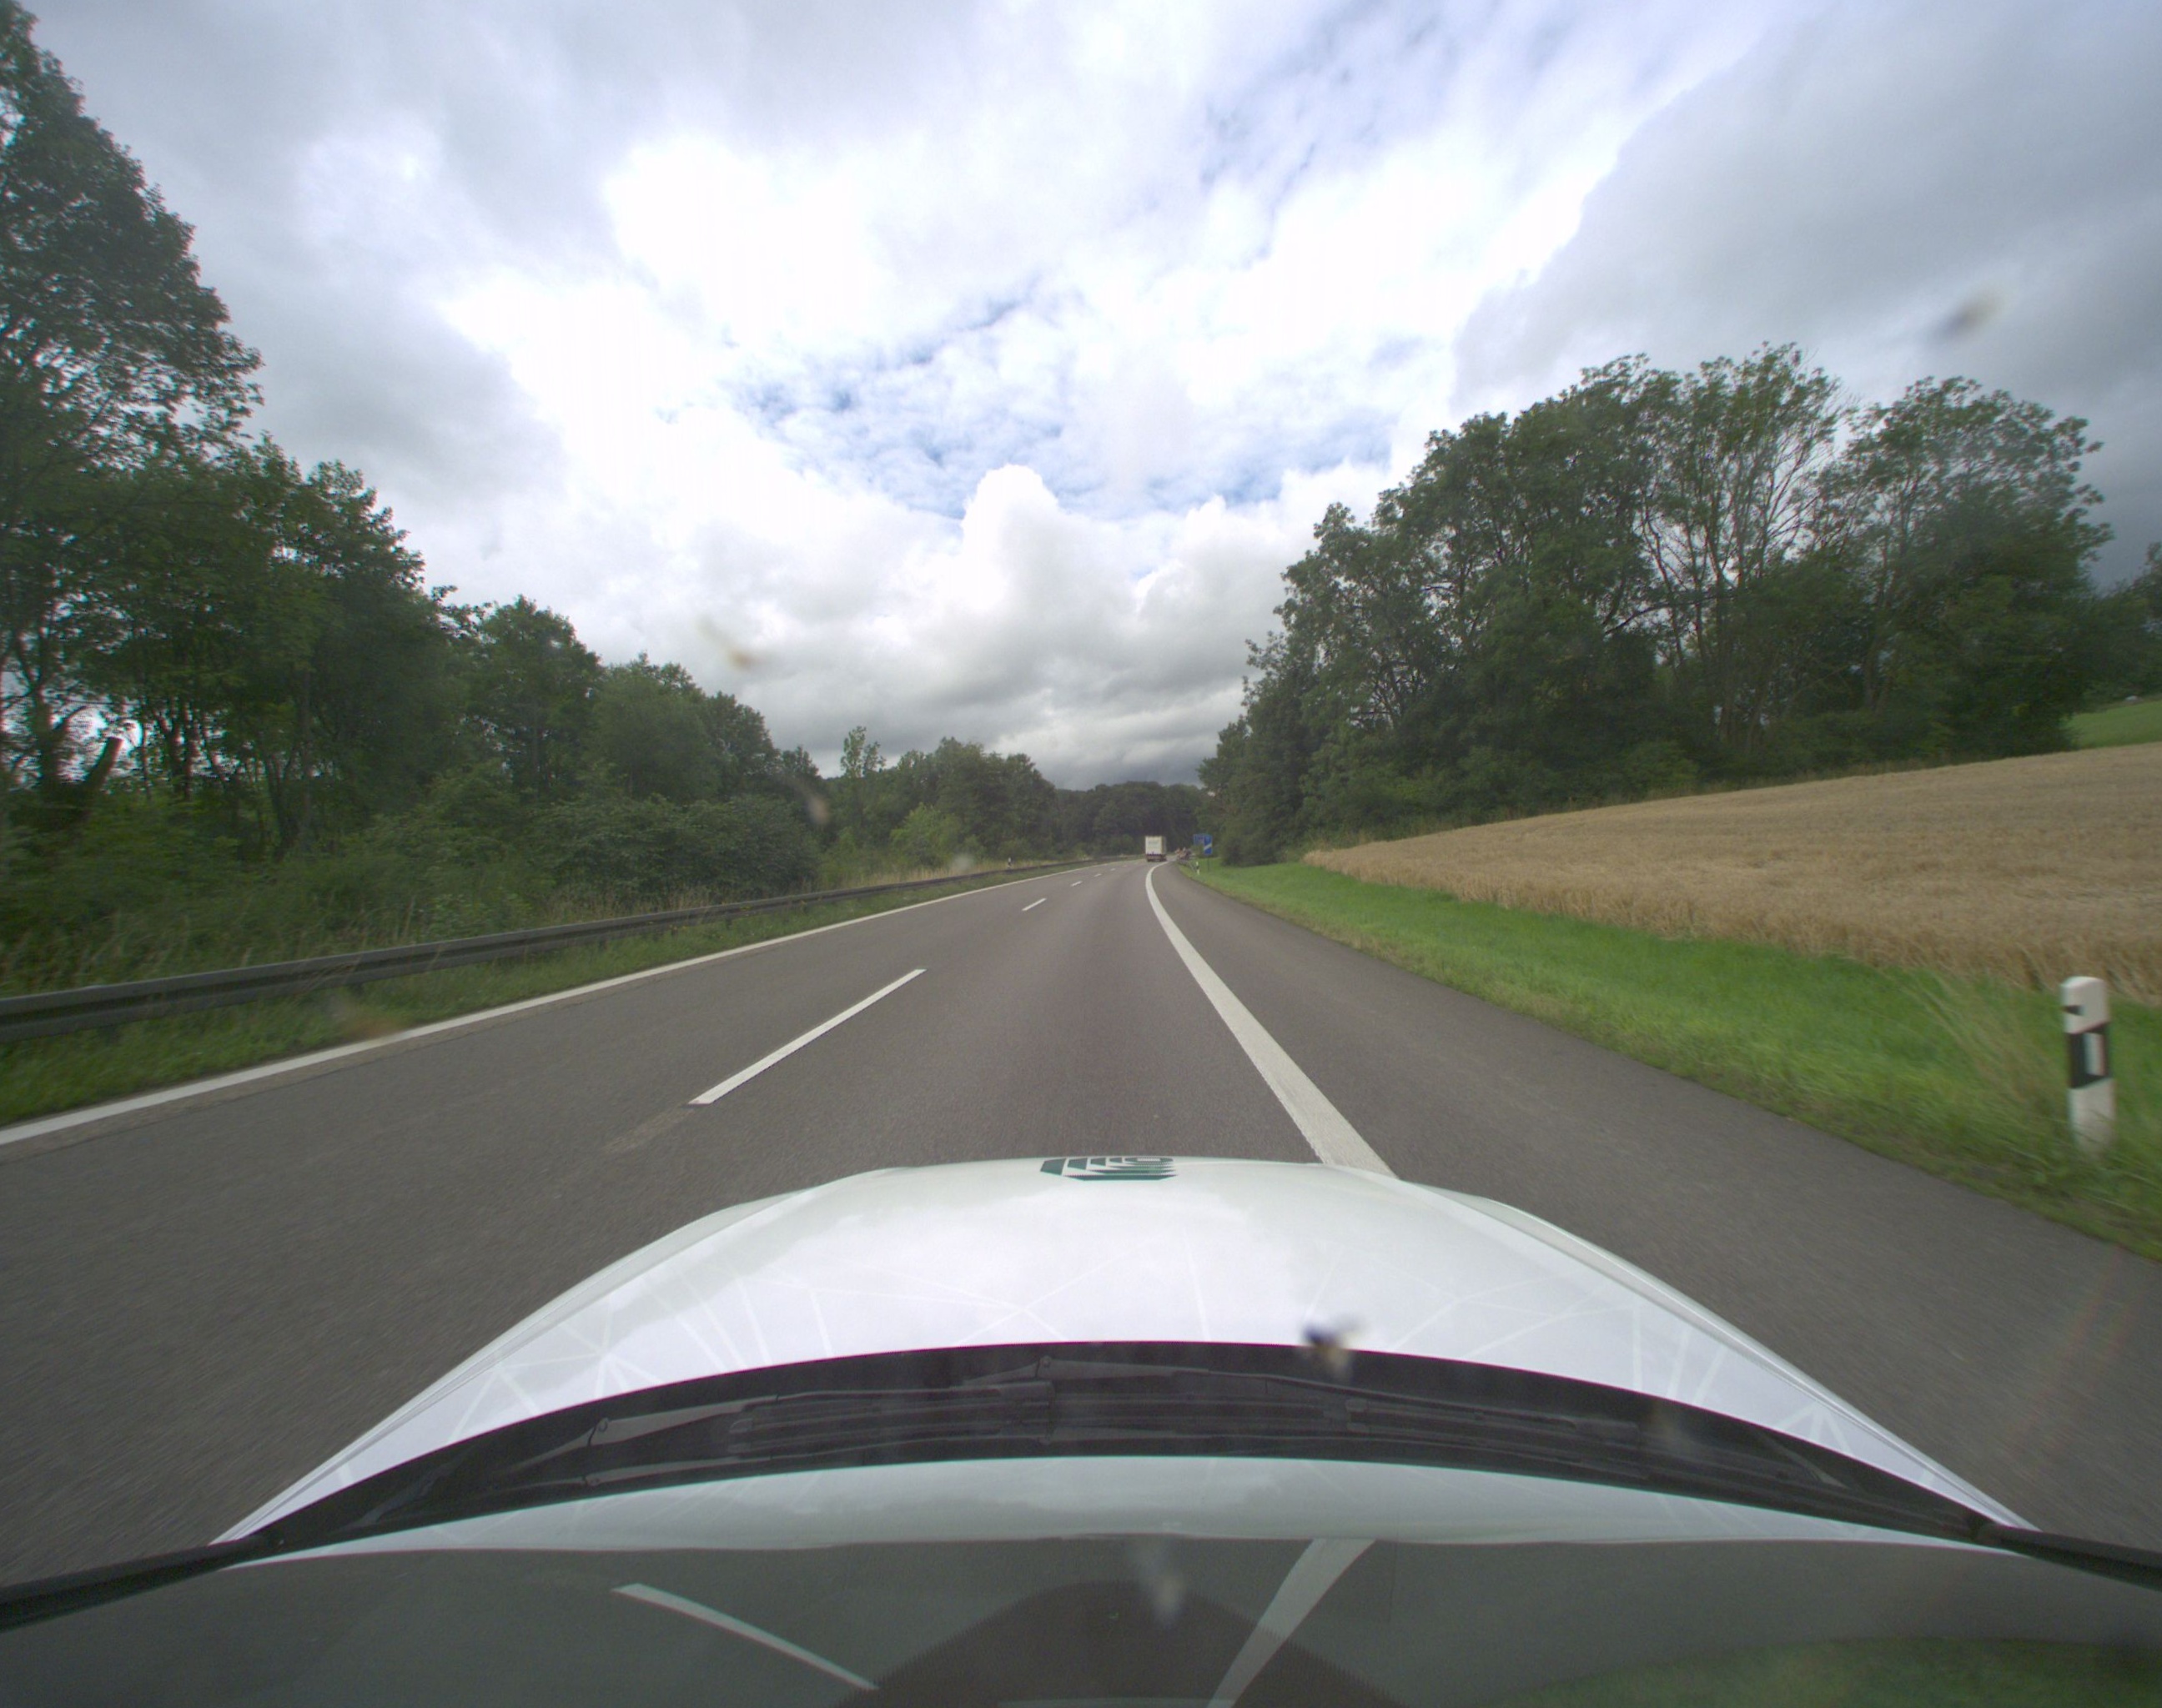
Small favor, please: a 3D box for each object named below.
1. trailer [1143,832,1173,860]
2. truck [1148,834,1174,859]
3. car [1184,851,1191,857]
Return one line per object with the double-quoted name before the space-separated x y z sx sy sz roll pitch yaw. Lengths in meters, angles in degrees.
"trailer" 12.611 -1.176 132.243 3.783 4.174 14.846 -2 0 9
"truck" 13.675 -1.166 138.832 3.766 4.132 8.284 -1 -1 9
"car" 30.530 0.054 233.256 1.890 1.795 4.013 -1 -1 12
